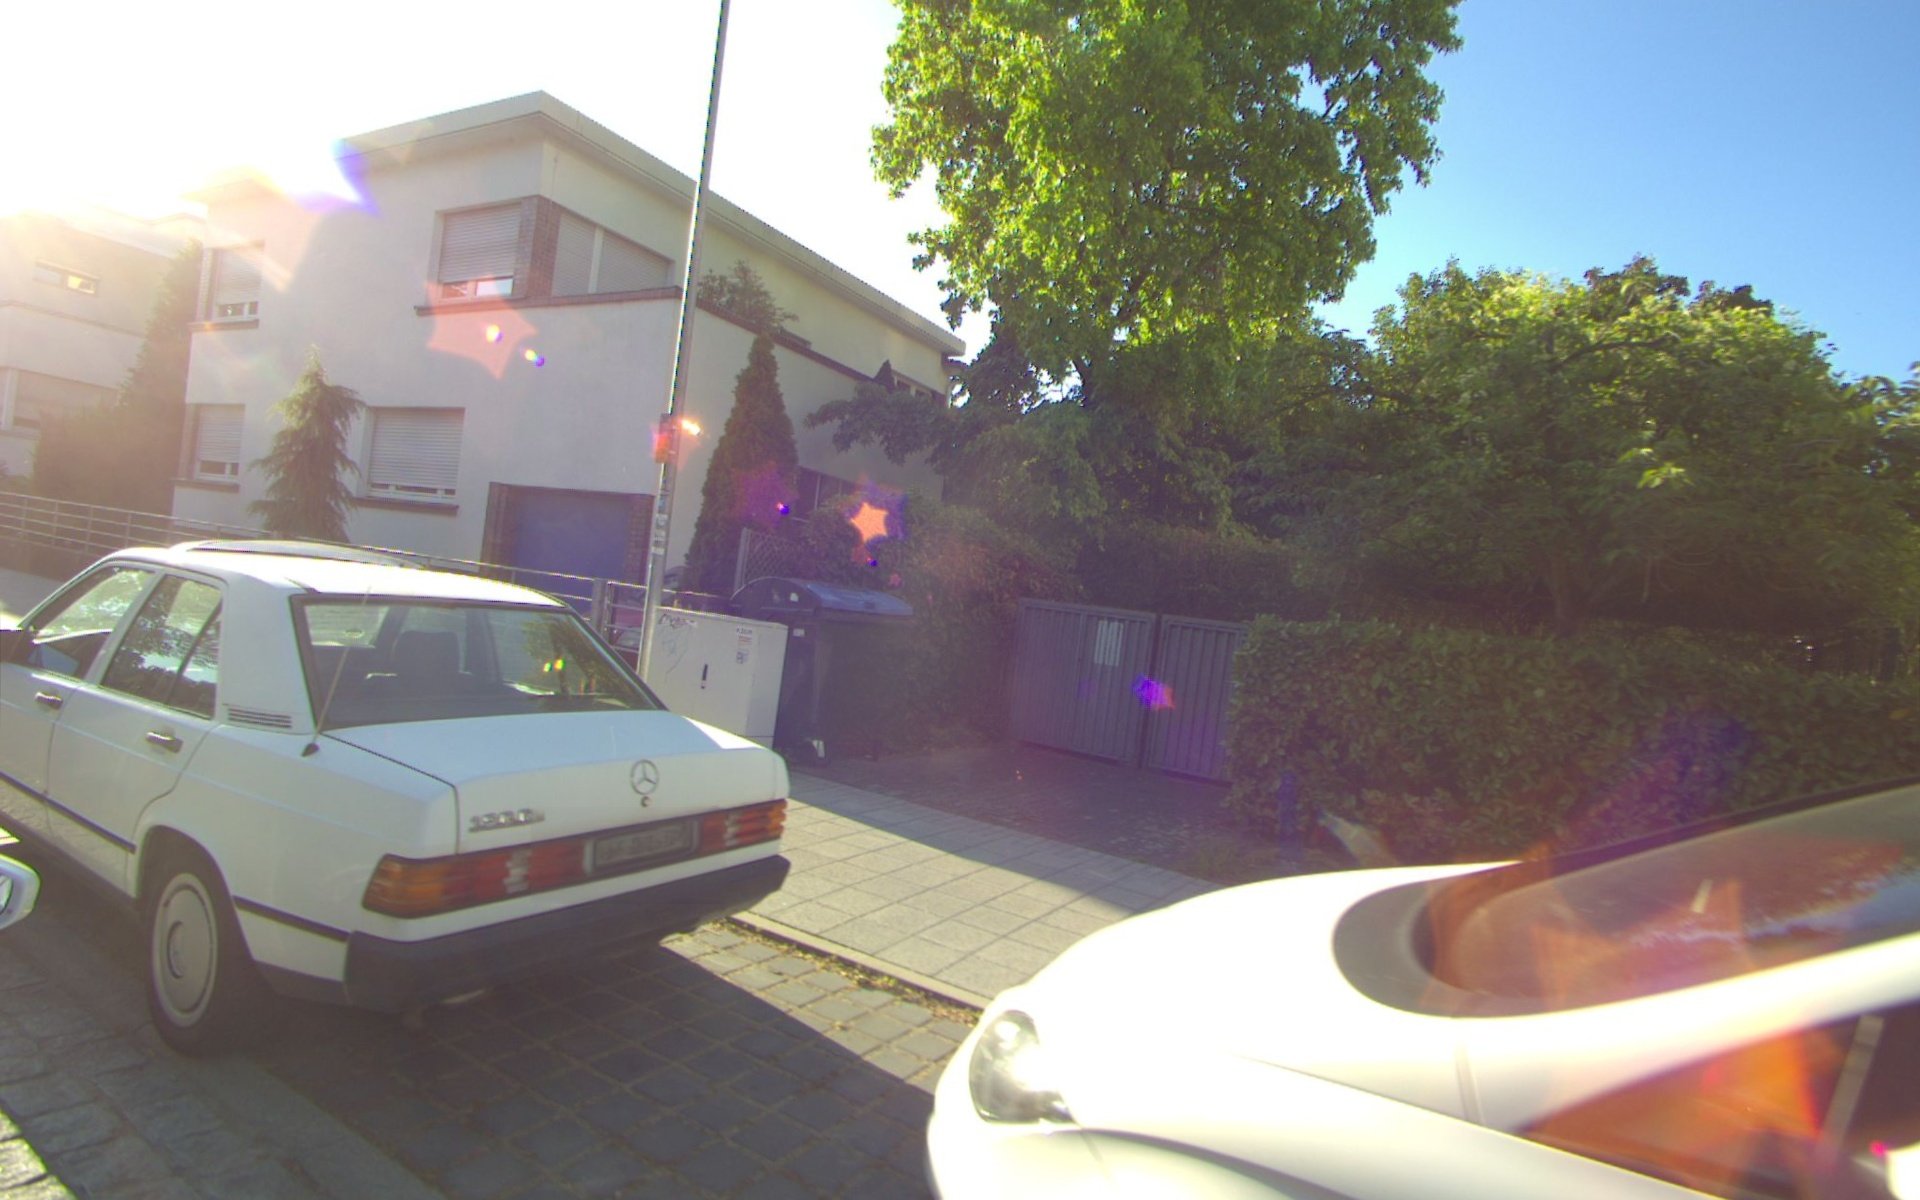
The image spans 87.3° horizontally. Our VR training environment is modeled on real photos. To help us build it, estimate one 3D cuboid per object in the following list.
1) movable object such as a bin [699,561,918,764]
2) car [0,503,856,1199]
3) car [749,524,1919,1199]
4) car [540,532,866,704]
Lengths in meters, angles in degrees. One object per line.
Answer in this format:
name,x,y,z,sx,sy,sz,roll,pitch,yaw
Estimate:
movable object such as a bin,-1.240,0.517,8.373,1.105,1.449,1.239,7,-1,33
car,-2.657,0.486,4.011,4.302,1.407,1.565,7,1,32
car,1.816,0.920,1.326,4.062,1.575,1.680,7,1,33
car,-3.044,0.297,12.453,1.619,1.661,3.492,7,-2,39
